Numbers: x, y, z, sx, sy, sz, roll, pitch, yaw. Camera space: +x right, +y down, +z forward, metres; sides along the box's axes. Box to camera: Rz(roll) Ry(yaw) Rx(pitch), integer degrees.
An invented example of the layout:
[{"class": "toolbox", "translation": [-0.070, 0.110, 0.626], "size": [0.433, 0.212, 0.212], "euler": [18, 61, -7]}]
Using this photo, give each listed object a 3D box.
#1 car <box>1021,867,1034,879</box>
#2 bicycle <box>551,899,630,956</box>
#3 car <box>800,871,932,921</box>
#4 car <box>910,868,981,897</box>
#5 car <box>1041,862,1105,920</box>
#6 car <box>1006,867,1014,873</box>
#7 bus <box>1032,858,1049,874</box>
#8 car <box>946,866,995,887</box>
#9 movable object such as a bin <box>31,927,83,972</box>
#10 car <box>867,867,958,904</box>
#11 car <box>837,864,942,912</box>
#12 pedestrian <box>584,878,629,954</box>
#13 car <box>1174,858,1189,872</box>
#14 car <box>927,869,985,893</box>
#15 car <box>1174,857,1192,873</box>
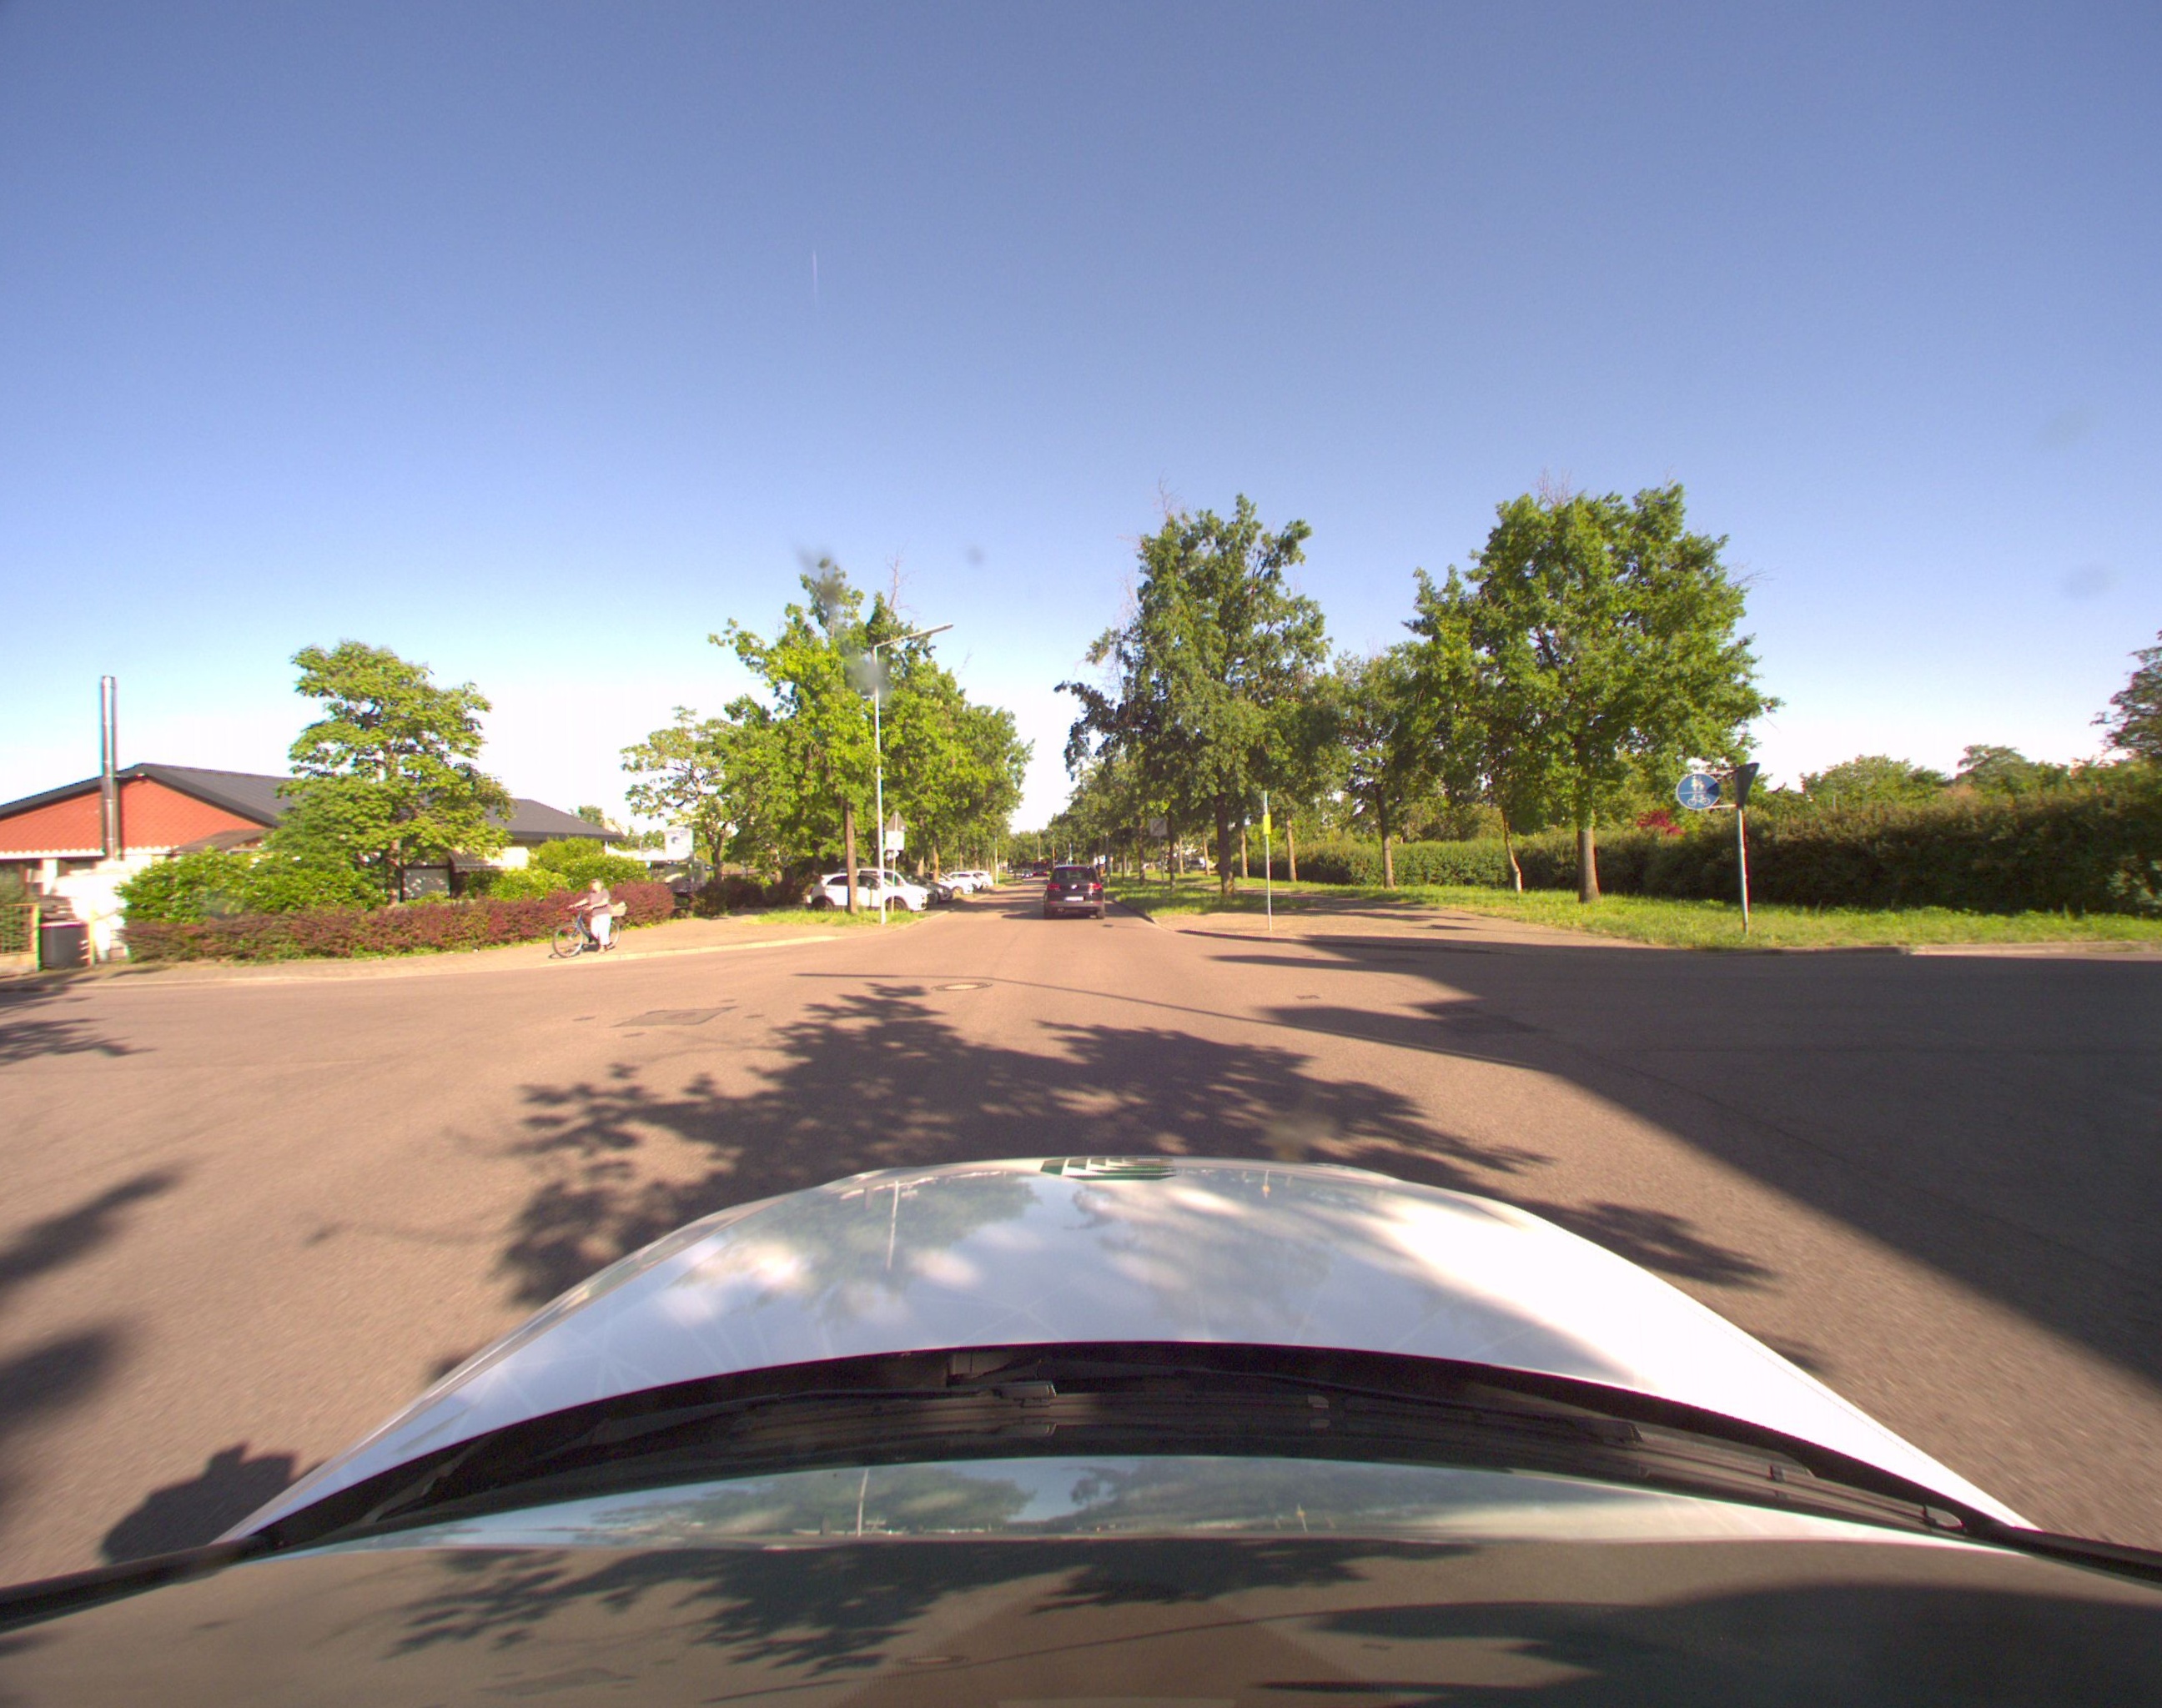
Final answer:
[{"class": "car", "translation": [-8.287, 2.980, 126.977], "size": [1.847, 1.693, 3.953], "euler": [-2, -1, -1]}, {"class": "bicycle", "translation": [-10.460, 1.548, 17.438], "size": [0.445, 1.039, 1.894], "euler": [-2, 0, 3]}, {"class": "car", "translation": [-7.690, 1.481, 29.464], "size": [4.230, 1.623, 1.895], "euler": [-2, -1, -2]}, {"class": "car", "translation": [-8.237, 1.724, 49.896], "size": [4.005, 1.648, 1.810], "euler": [-2, -1, -2]}, {"class": "car", "translation": [-0.213, 1.092, 25.607], "size": [1.832, 1.636, 3.958], "euler": [-1, -1, 1]}, {"class": "car", "translation": [-19.164, 4.205, 219.517], "size": [1.820, 1.551, 3.687], "euler": [-2, 0, -1]}, {"class": "bus", "translation": [-7.887, 2.330, 159.129], "size": [2.920, 3.004, 5.734], "euler": [-2, -1, -1]}, {"class": "car", "translation": [-9.575, 1.983, 70.896], "size": [4.005, 1.647, 1.810], "euler": [-2, -1, -2]}, {"class": "movable object such as a bin", "translation": [-22.870, 2.133, 18.194], "size": [0.608, 0.936, 0.502], "euler": [-2, -1, 13]}, {"class": "car", "translation": [-8.199, 1.542, 39.889], "size": [4.005, 1.648, 1.895], "euler": [-2, -1, -2]}, {"class": "car", "translation": [-8.146, 1.417, 34.866], "size": [4.005, 1.840, 1.896], "euler": [-2, -1, -2]}, {"class": "pedestrian", "translation": [-10.033, 1.295, 17.254], "size": [0.439, 1.557, 0.801], "euler": [-2, -2, 2]}, {"class": "car", "translation": [14.517, 1.595, 117.906], "size": [1.983, 2.014, 4.007], "euler": [-2, -1, 7]}, {"class": "car", "translation": [-9.231, 1.976, 60.393], "size": [4.005, 1.648, 1.810], "euler": [-2, -1, -2]}, {"class": "car", "translation": [13.453, 1.461, 107.728], "size": [2.045, 2.014, 4.005], "euler": [-2, -1, 4]}]
